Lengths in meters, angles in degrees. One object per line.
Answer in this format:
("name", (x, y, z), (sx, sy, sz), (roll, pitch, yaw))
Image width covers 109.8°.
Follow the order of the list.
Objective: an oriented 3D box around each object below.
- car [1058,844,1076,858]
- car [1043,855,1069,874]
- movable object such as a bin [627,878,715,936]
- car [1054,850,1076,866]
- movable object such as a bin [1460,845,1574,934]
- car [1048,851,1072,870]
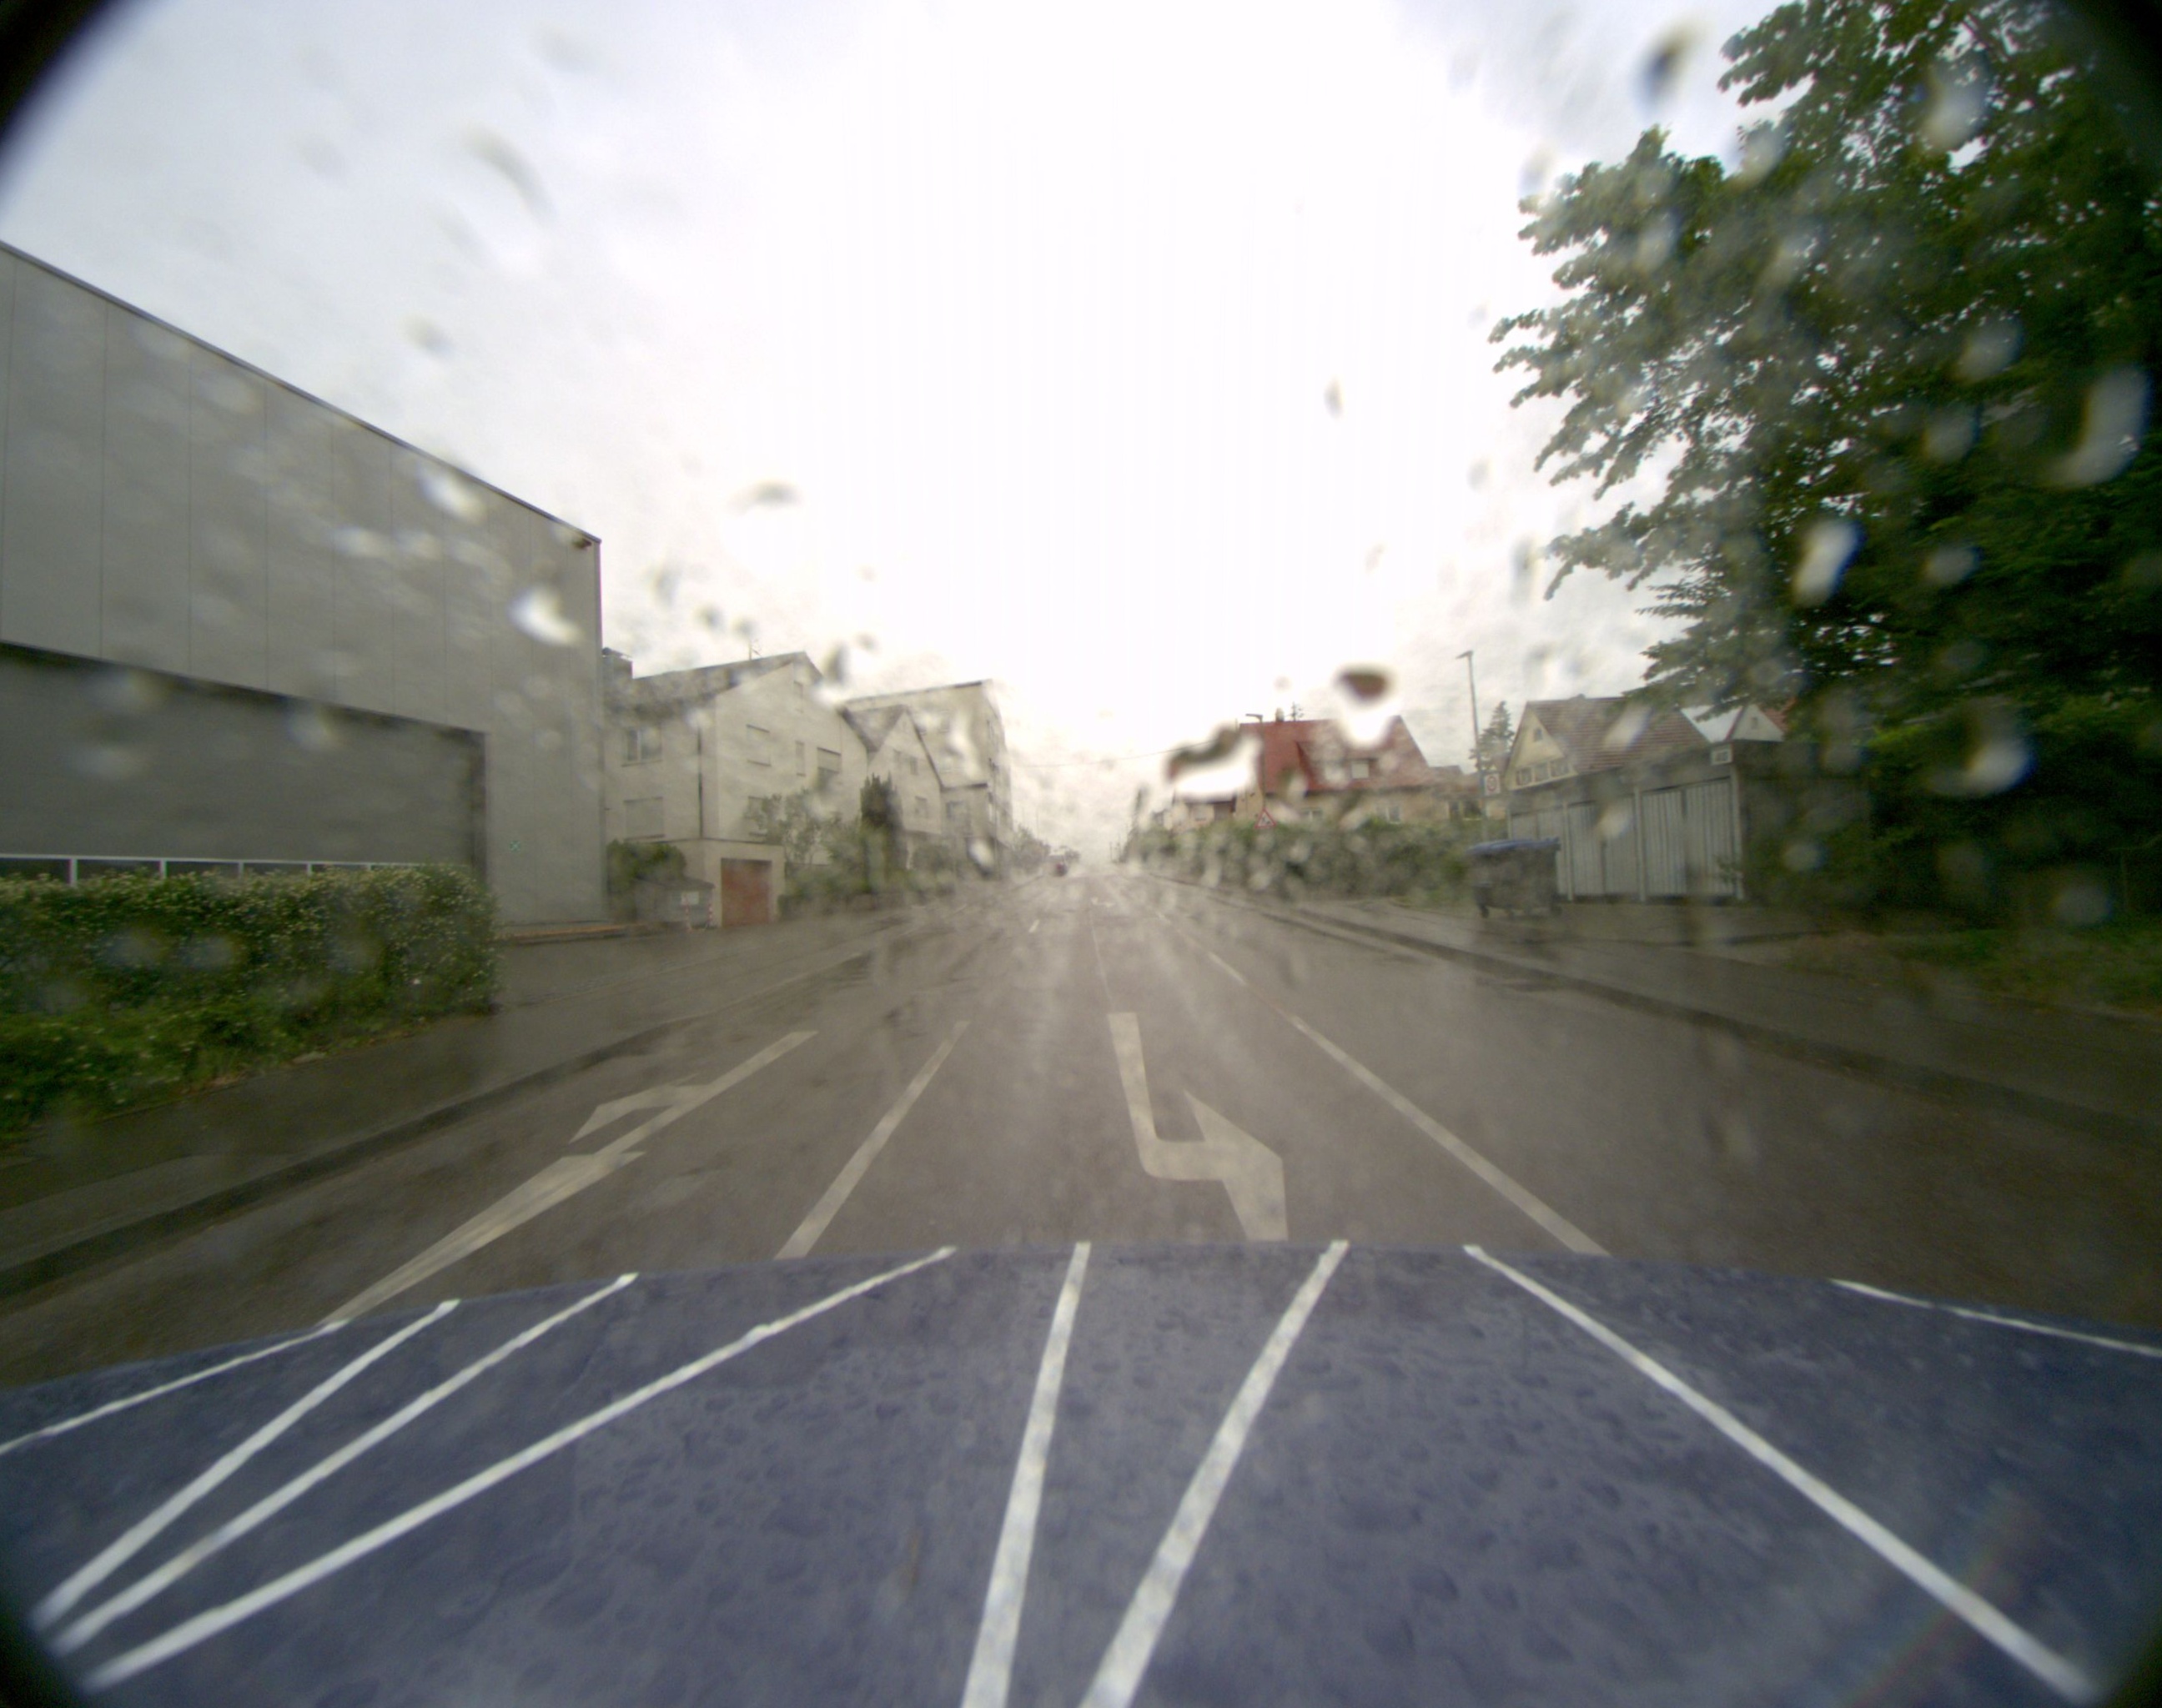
("car", (-1.634, -0.357, 88.052), (1.848, 1.514, 4.000), (-2, 0, 2))
("car", (-2.053, 0.846, 63.398), (1.848, 1.514, 4.000), (-2, 0, 2))
("movable object such as a bin", (-11.522, 1.465, 21.400), (1.446, 1.526, 1.591), (-2, -1, 16))
("car", (-1.574, 0.364, 76.061), (1.848, 1.514, 4.000), (-2, 0, 2))
("movable object such as a bin", (7.176, 0.569, 12.590), (1.056, 1.289, 1.201), (-7, -1, 1))
("car", (-1.861, 0.569, 68.476), (1.848, 1.514, 4.000), (-2, 0, 2))
